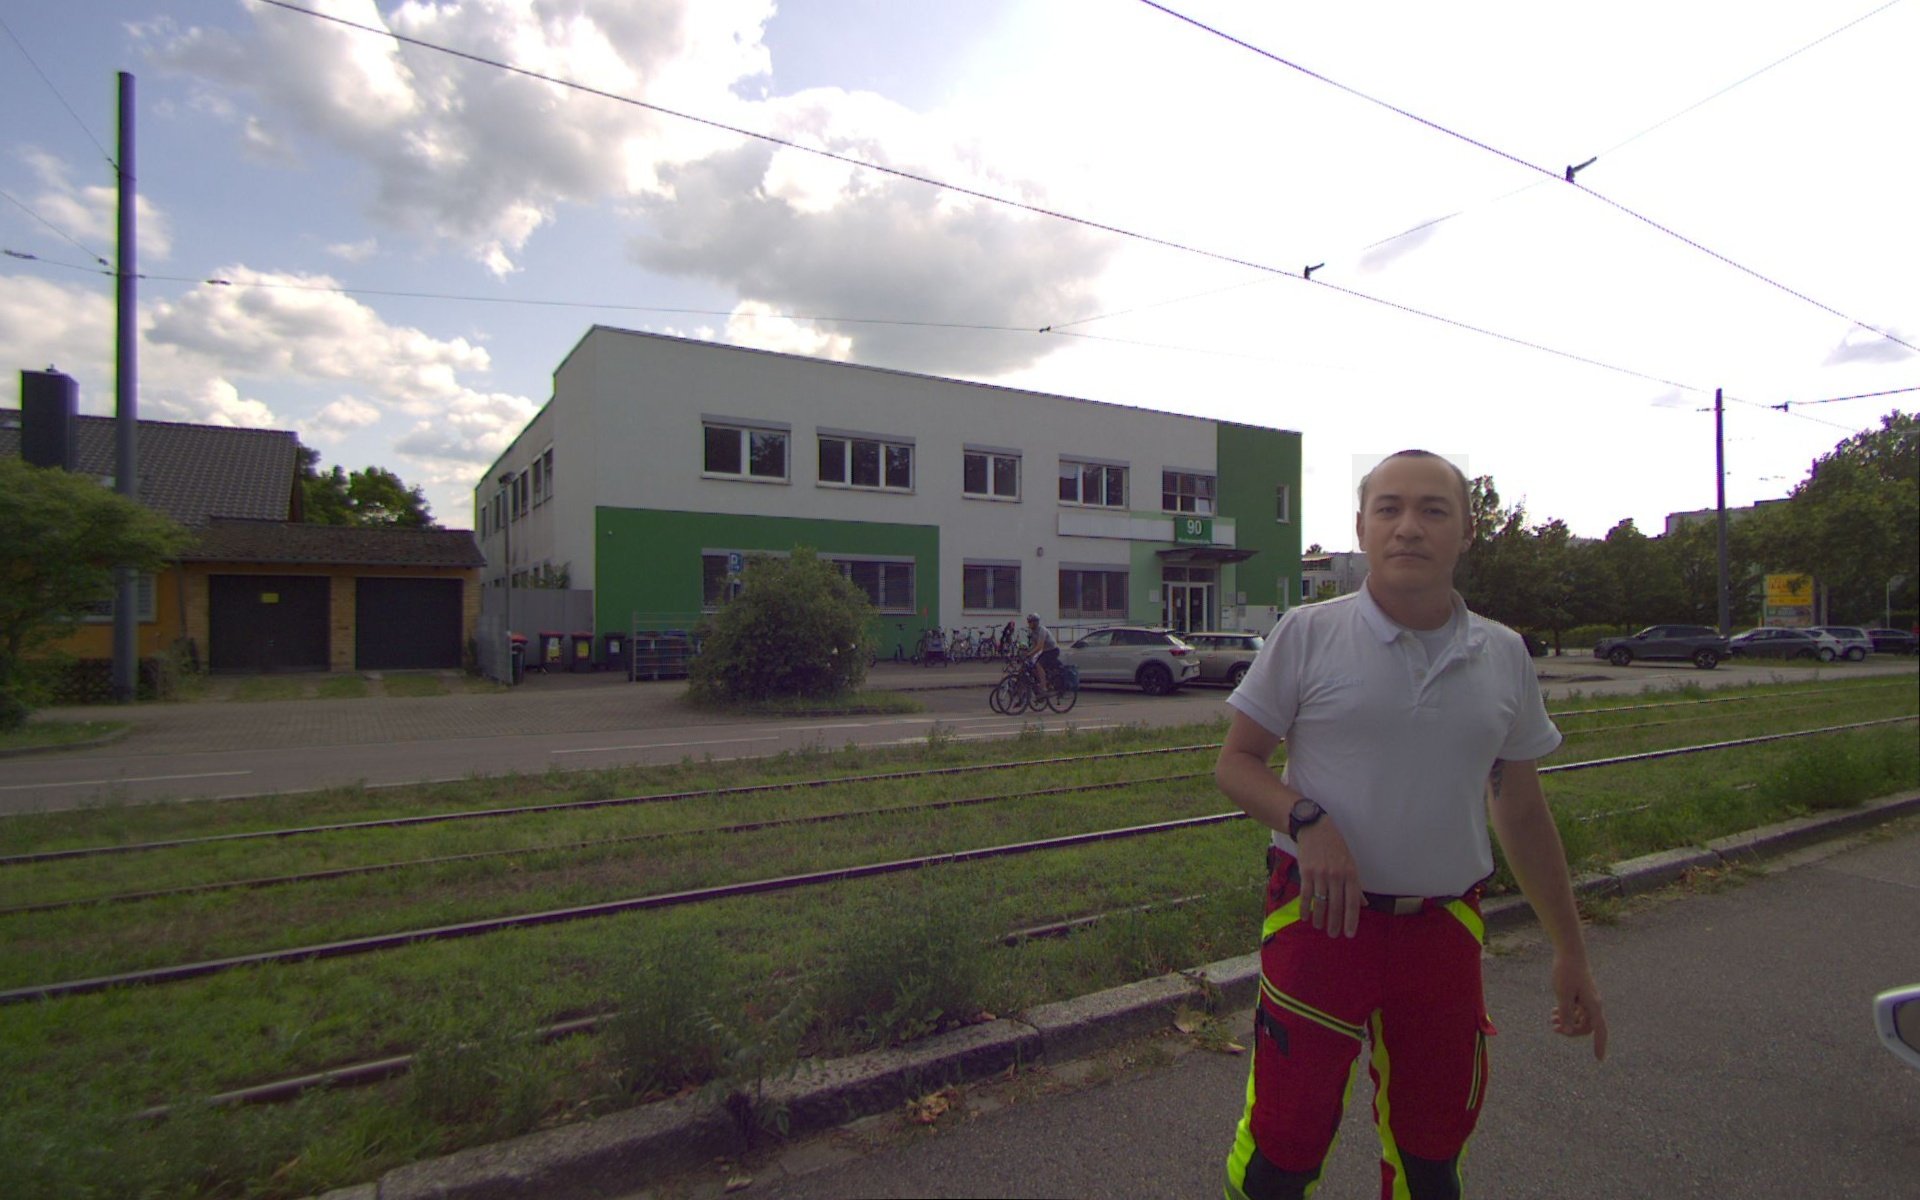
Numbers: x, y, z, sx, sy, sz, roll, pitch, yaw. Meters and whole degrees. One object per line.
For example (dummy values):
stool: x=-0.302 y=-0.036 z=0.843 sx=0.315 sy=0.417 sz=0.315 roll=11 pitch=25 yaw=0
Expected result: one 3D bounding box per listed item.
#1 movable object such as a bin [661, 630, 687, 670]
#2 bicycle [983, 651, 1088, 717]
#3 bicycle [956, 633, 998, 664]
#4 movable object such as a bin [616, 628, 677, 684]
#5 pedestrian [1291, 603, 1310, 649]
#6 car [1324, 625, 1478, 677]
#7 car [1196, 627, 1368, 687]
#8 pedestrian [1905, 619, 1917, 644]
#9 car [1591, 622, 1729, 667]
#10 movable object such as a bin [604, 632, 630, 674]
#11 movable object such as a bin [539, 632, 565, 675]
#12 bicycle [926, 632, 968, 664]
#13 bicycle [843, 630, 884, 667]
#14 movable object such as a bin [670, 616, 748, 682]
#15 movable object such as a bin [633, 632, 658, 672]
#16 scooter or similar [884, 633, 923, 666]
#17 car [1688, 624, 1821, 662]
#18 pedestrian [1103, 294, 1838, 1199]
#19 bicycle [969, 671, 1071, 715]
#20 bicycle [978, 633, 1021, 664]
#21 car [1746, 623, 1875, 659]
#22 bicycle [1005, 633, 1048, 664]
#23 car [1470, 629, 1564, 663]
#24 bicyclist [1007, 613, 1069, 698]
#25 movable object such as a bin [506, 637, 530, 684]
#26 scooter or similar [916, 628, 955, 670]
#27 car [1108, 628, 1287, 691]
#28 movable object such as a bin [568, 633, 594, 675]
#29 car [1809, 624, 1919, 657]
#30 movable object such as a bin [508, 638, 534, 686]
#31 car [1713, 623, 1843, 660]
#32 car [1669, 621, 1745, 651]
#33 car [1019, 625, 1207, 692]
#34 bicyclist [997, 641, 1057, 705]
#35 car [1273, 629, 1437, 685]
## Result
movable object such as a bin: x=-7.874 y=1.372 z=27.656 sx=0.558 sy=1.056 sz=0.565 roll=0 pitch=1 yaw=-31
bicycle: x=1.347 y=1.479 z=17.866 sx=1.779 sy=1.094 sz=0.644 roll=0 pitch=-1 yaw=-23
bicycle: x=0.527 y=1.546 z=32.345 sx=0.453 sy=0.911 sz=1.848 roll=2 pitch=0 yaw=-30
movable object such as a bin: x=-7.540 y=1.315 z=24.147 sx=1.241 sy=1.251 sz=1.001 roll=0 pitch=1 yaw=-29
pedestrian: x=13.843 y=1.057 z=40.838 sx=0.503 sy=1.852 sz=0.543 roll=1 pitch=-1 yaw=-33
car: x=13.573 y=1.543 z=30.952 sx=4.160 sy=1.501 sz=1.880 roll=-1 pitch=-2 yaw=30
car: x=8.744 y=1.511 z=27.334 sx=4.160 sy=1.501 sz=1.880 roll=-1 pitch=-2 yaw=30
pedestrian: x=64.106 y=2.123 z=67.726 sx=0.597 sy=1.699 sz=0.463 roll=1 pitch=-1 yaw=-33
car: x=26.209 y=1.636 z=37.765 sx=4.164 sy=1.501 sz=1.878 roll=1 pitch=-1 yaw=34
movable object such as a bin: x=-9.195 y=1.408 z=26.891 sx=0.558 sy=1.056 sz=0.565 roll=0 pitch=1 yaw=-31
movable object such as a bin: x=-10.559 y=1.371 z=25.992 sx=0.558 sy=1.056 sz=0.565 roll=0 pitch=1 yaw=-31
bicycle: x=-0.420 y=1.514 z=31.724 sx=0.453 sy=0.911 sz=1.848 roll=2 pitch=0 yaw=-30
bicycle: x=-2.900 y=1.430 z=30.056 sx=0.453 sy=0.999 sz=1.848 roll=2 pitch=0 yaw=-30
movable object such as a bin: x=-6.226 y=1.184 z=24.908 sx=1.691 sy=1.540 sz=1.001 roll=0 pitch=1 yaw=-29
movable object such as a bin: x=-8.536 y=1.402 z=27.265 sx=0.558 sy=1.056 sz=0.565 roll=0 pitch=1 yaw=-31
scooter or similar: x=-1.765 y=1.526 z=31.034 sx=0.453 sy=0.911 sz=1.726 roll=2 pitch=0 yaw=-30
car: x=34.393 y=1.833 z=43.612 sx=4.154 sy=1.501 sz=1.882 roll=1 pitch=-1 yaw=23
pedestrian: x=0.773 y=0.477 z=1.761 sx=0.792 sy=1.709 sz=0.849 roll=1 pitch=0 yaw=-11
bicycle: x=1.108 y=1.696 z=18.487 sx=1.779 sy=0.727 sz=0.644 roll=1 pitch=-1 yaw=-23
bicycle: x=1.287 y=1.571 z=32.809 sx=0.453 sy=0.911 sz=1.848 roll=2 pitch=0 yaw=-30
car: x=39.404 y=1.878 z=46.650 sx=4.154 sy=1.501 sz=1.882 roll=1 pitch=-1 yaw=23
bicycle: x=2.198 y=1.593 z=33.321 sx=0.453 sy=0.911 sz=1.848 roll=2 pitch=0 yaw=-30
car: x=29.205 y=2.378 z=52.780 sx=1.755 sy=1.586 sz=3.970 roll=2 pitch=0 yaw=-28
bicyclist: x=1.382 y=0.977 z=17.867 sx=0.915 sy=1.477 sz=0.622 roll=0 pitch=-1 yaw=-23
movable object such as a bin: x=-10.400 y=1.413 z=23.629 sx=0.474 sy=1.056 sz=0.491 roll=0 pitch=1 yaw=-31
scooter or similar: x=-0.735 y=1.432 z=29.659 sx=1.073 sy=1.171 sz=1.306 roll=2 pitch=0 yaw=-2
car: x=6.113 y=1.478 z=25.956 sx=4.160 sy=1.501 sz=1.880 roll=-1 pitch=-2 yaw=30
movable object such as a bin: x=-9.950 y=1.400 z=26.393 sx=0.558 sy=1.056 sz=0.565 roll=0 pitch=1 yaw=-31
car: x=46.192 y=2.039 z=51.104 sx=4.151 sy=1.501 sz=1.883 roll=1 pitch=-1 yaw=19
movable object such as a bin: x=-10.121 y=1.419 z=23.147 sx=0.476 sy=1.056 sz=0.502 roll=0 pitch=1 yaw=-31
car: x=36.745 y=1.828 z=45.273 sx=4.154 sy=1.501 sz=1.882 roll=1 pitch=-1 yaw=23
car: x=48.529 y=2.292 z=65.374 sx=1.960 sy=1.773 sz=4.000 roll=1 pitch=0 yaw=0
car: x=3.697 y=1.375 z=24.286 sx=4.155 sy=1.501 sz=1.882 roll=-1 pitch=-2 yaw=25
bicyclist: x=1.235 y=1.335 z=18.535 sx=0.915 sy=1.127 sz=0.638 roll=0 pitch=-1 yaw=-22
car: x=11.325 y=1.586 z=28.848 sx=4.160 sy=1.501 sz=1.880 roll=-1 pitch=-2 yaw=30
